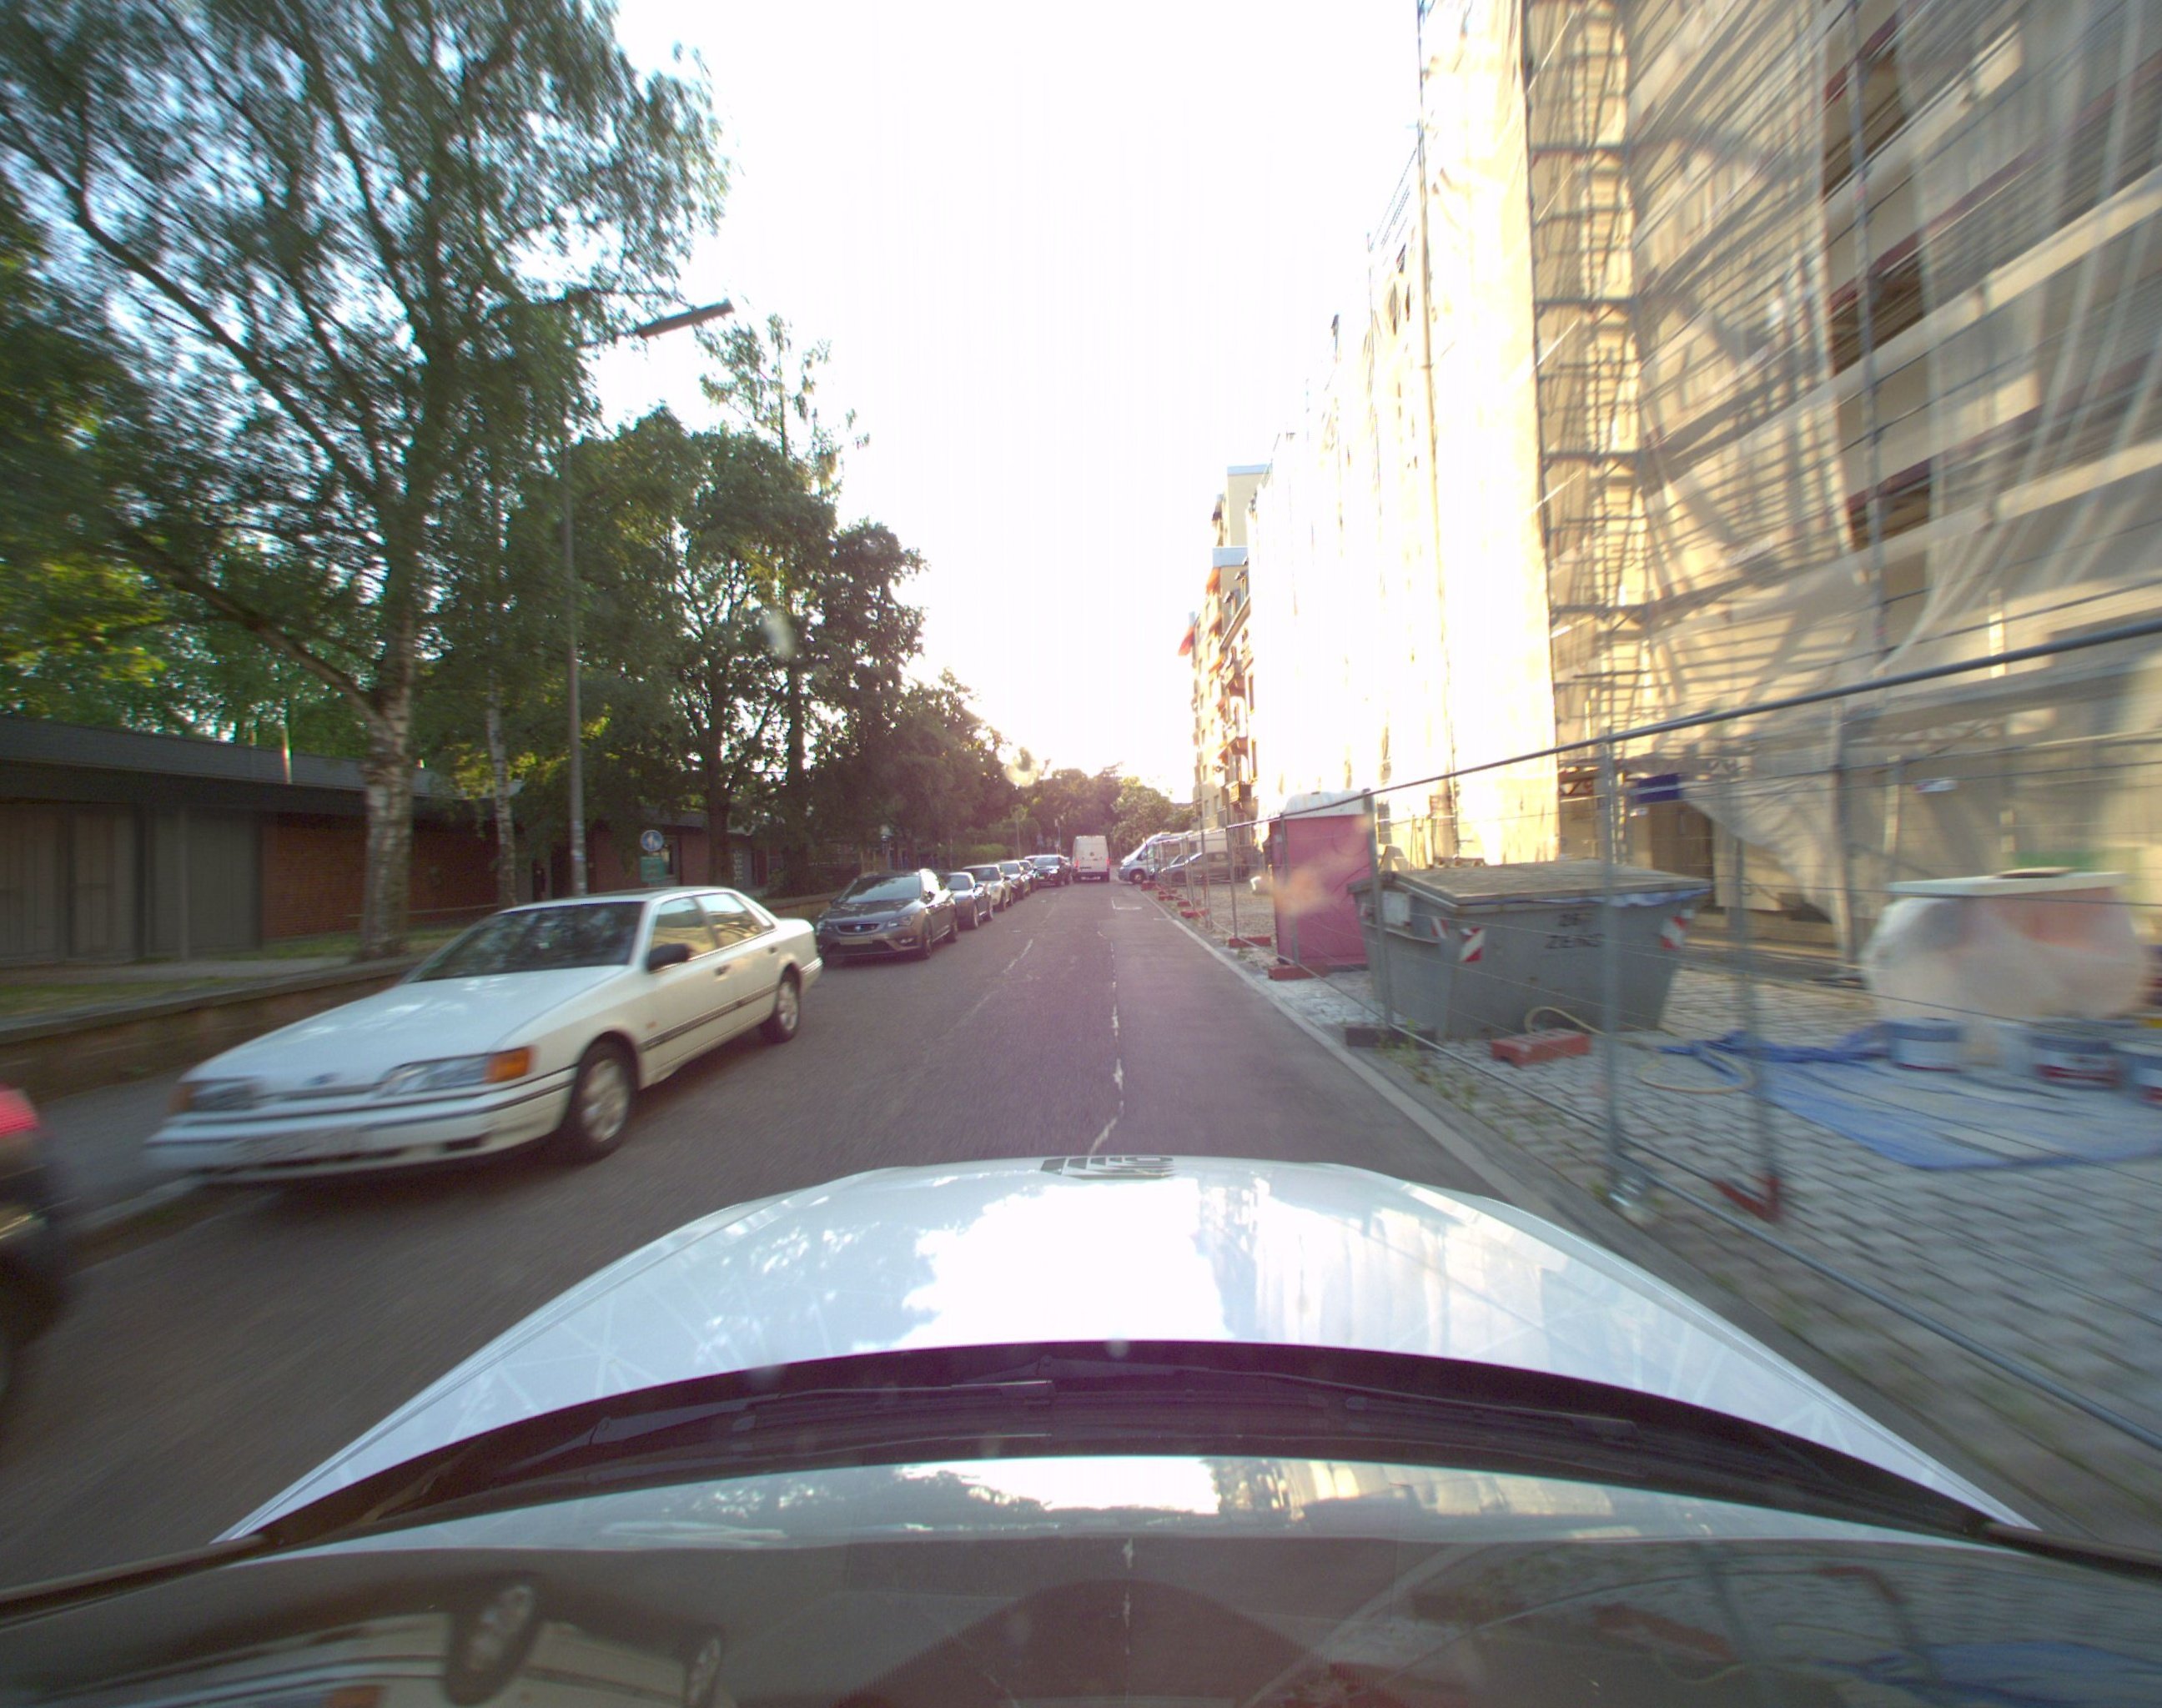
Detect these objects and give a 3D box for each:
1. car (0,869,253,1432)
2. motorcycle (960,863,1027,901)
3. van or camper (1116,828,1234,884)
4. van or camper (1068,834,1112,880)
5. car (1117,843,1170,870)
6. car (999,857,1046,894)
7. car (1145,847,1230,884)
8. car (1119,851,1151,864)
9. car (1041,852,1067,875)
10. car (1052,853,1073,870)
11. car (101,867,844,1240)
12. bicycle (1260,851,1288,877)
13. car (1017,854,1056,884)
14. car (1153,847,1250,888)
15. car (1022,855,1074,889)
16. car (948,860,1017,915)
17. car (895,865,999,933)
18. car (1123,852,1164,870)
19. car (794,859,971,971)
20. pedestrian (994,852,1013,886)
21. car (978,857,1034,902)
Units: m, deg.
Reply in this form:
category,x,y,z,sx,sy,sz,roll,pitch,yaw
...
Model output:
category,x,y,z,sx,sy,sz,roll,pitch,yaw
car,-3.783,0.810,0.743,1.988,1.453,3.997,-2,0,-2
motorcycle,-3.077,0.987,28.728,2.148,1.303,0.883,-1,0,15
van or camper,4.875,0.102,42.775,5.910,2.770,2.109,-1,0,-1
van or camper,0.580,0.170,47.998,2.445,2.547,6.084,0,0,1
car,5.485,0.205,71.871,4.481,2.230,2.032,-1,0,0
car,-2.620,0.954,37.079,1.631,1.478,3.994,-4,0,2
car,5.183,0.567,39.971,3.920,1.486,1.787,-4,-2,2
car,6.970,0.490,105.252,3.978,1.618,1.998,-1,0,-3
car,-2.169,0.730,64.151,1.989,1.662,3.995,-1,0,-3
car,-1.803,0.695,79.391,1.987,1.618,3.999,-1,0,-1
car,-3.397,0.922,6.002,1.776,1.445,4.748,-5,0,0
bicycle,8.942,0.437,37.725,0.629,1.168,2.031,-1,0,-5
car,-2.590,0.856,48.599,1.776,1.631,4.003,-4,0,3
car,5.436,0.592,37.124,3.979,1.515,2.017,-5,0,-4
car,-1.632,0.859,41.860,1.794,1.569,4.576,-3,0,8
car,-3.014,0.993,25.512,1.596,1.431,3.803,-5,0,0
car,-3.125,1.011,19.752,1.653,1.313,4.156,-3,0,1
car,6.339,0.724,82.976,3.972,1.728,2.001,-1,0,1
car,-3.267,0.919,14.465,1.854,1.538,4.758,-3,0,0
pedestrian,-4.189,0.804,44.029,0.935,1.830,0.786,-1,0,-1
car,-2.876,0.943,31.921,1.710,1.496,4.360,-4,0,0
